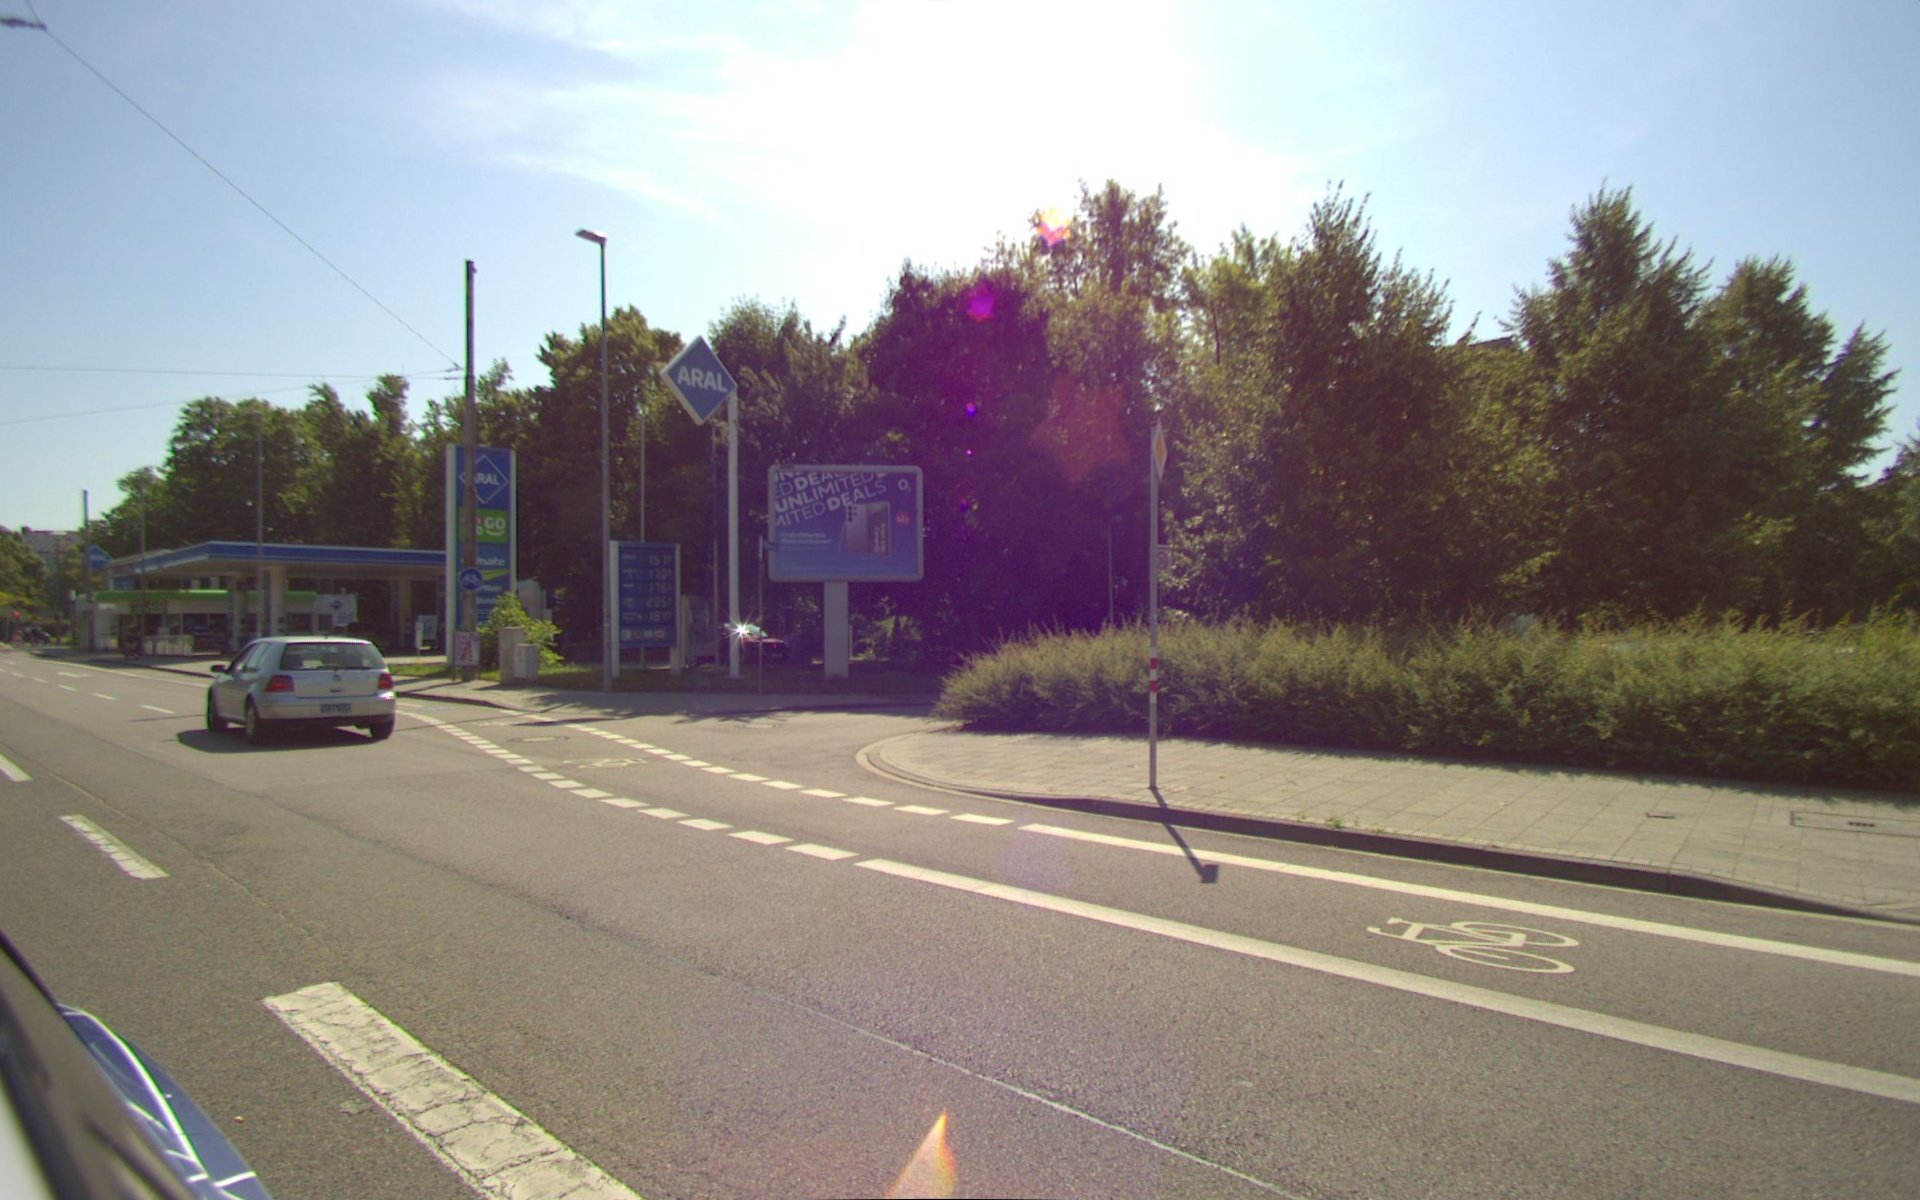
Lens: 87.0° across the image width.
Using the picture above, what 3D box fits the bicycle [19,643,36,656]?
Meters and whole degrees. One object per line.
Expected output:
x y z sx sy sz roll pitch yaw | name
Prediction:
-83.737 4.444 90.870 2.211 1.184 0.927 -2 -3 43 | bicycle

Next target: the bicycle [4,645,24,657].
-83.093 4.457 88.888 2.069 1.066 0.745 -2 -2 33 | bicycle

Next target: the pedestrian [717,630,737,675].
-7.883 1.775 34.236 0.500 1.492 0.493 -2 -3 41 | pedestrian

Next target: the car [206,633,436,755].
-8.963 1.204 14.044 4.310 1.431 1.640 -2 -4 43 | car

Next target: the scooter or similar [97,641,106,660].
-58.178 3.408 68.599 0.435 1.247 1.348 1 -3 -39 | scooter or similar

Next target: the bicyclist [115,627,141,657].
-41.697 2.114 50.714 0.832 1.447 0.838 -4 -3 40 | bicyclist

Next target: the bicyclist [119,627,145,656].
-41.035 2.062 50.166 0.832 1.447 0.838 -3 -3 40 | bicyclist

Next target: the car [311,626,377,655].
-39.066 2.563 64.118 5.960 1.795 1.825 -2 -3 40 | car

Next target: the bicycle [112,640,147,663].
-41.221 2.551 50.217 2.769 1.103 0.817 -2 -3 39 | bicycle

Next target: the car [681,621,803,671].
-7.605 1.613 35.013 4.515 1.582 1.780 -4 -4 41 | car

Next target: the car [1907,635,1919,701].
19.585 1.272 19.350 3.603 1.214 1.578 1 -2 -38 | car
